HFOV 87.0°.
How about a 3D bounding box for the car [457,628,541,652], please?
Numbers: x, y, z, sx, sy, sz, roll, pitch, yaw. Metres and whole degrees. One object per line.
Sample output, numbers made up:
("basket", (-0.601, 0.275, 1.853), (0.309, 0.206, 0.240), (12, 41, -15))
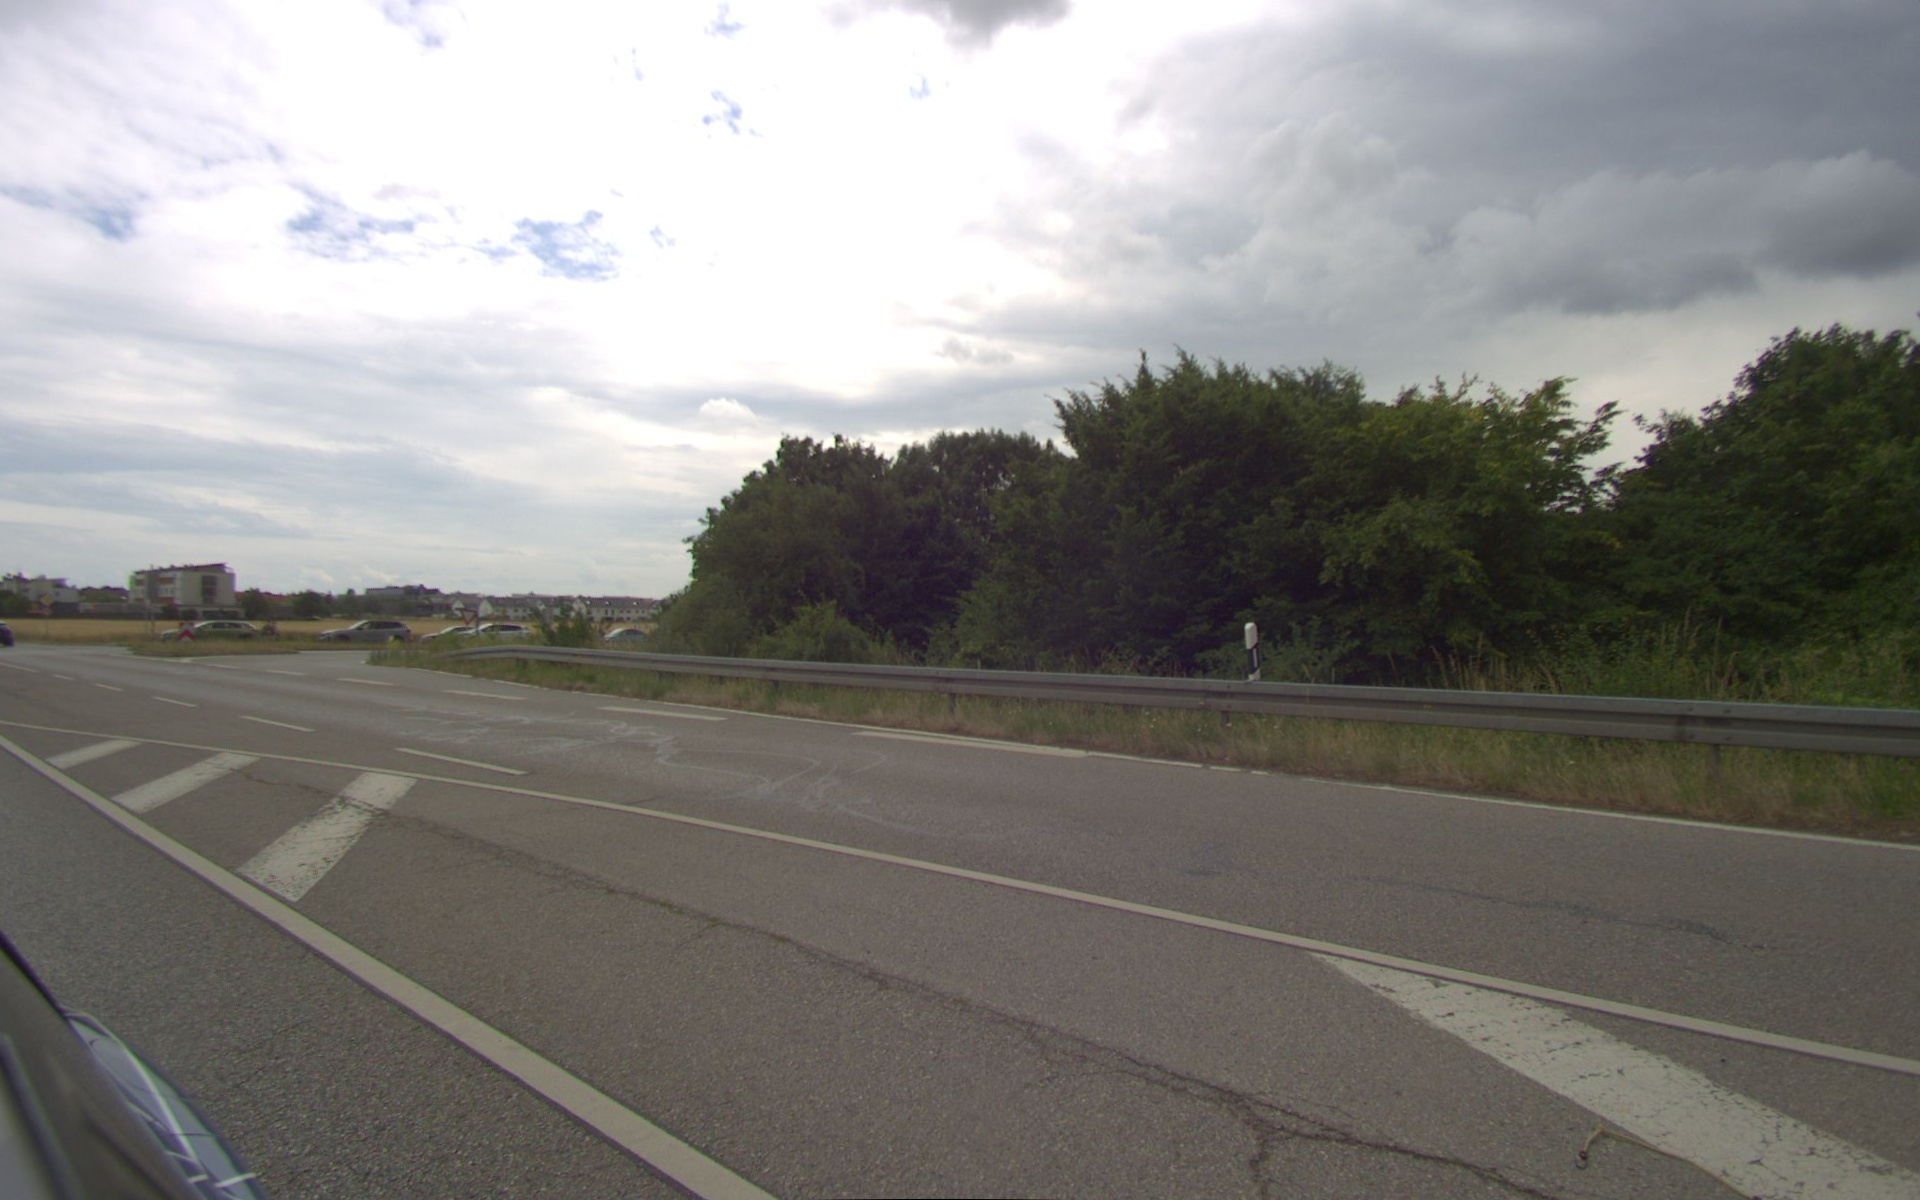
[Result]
("car", (-29.205, 2.508, 64.188), (4.437, 1.493, 1.913), (2, -2, -43))

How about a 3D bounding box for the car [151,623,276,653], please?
("car", (-40.124, 2.014, 54.498), (5.221, 1.533, 1.913), (2, -2, -43))

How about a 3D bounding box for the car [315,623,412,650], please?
("car", (-35.030, 2.150, 59.491), (4.568, 1.528, 1.913), (2, -2, -43))

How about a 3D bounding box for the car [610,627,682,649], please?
("car", (-21.903, 2.667, 70.742), (4.437, 1.493, 1.913), (2, -2, -43))

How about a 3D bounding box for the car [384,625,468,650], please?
("car", (-33.697, 2.364, 63.891), (4.344, 1.493, 1.913), (2, -2, -43))

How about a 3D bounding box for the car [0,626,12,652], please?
("car", (-53.471, 2.122, 55.542), (4.000, 1.387, 1.842), (-1, -1, 43))
